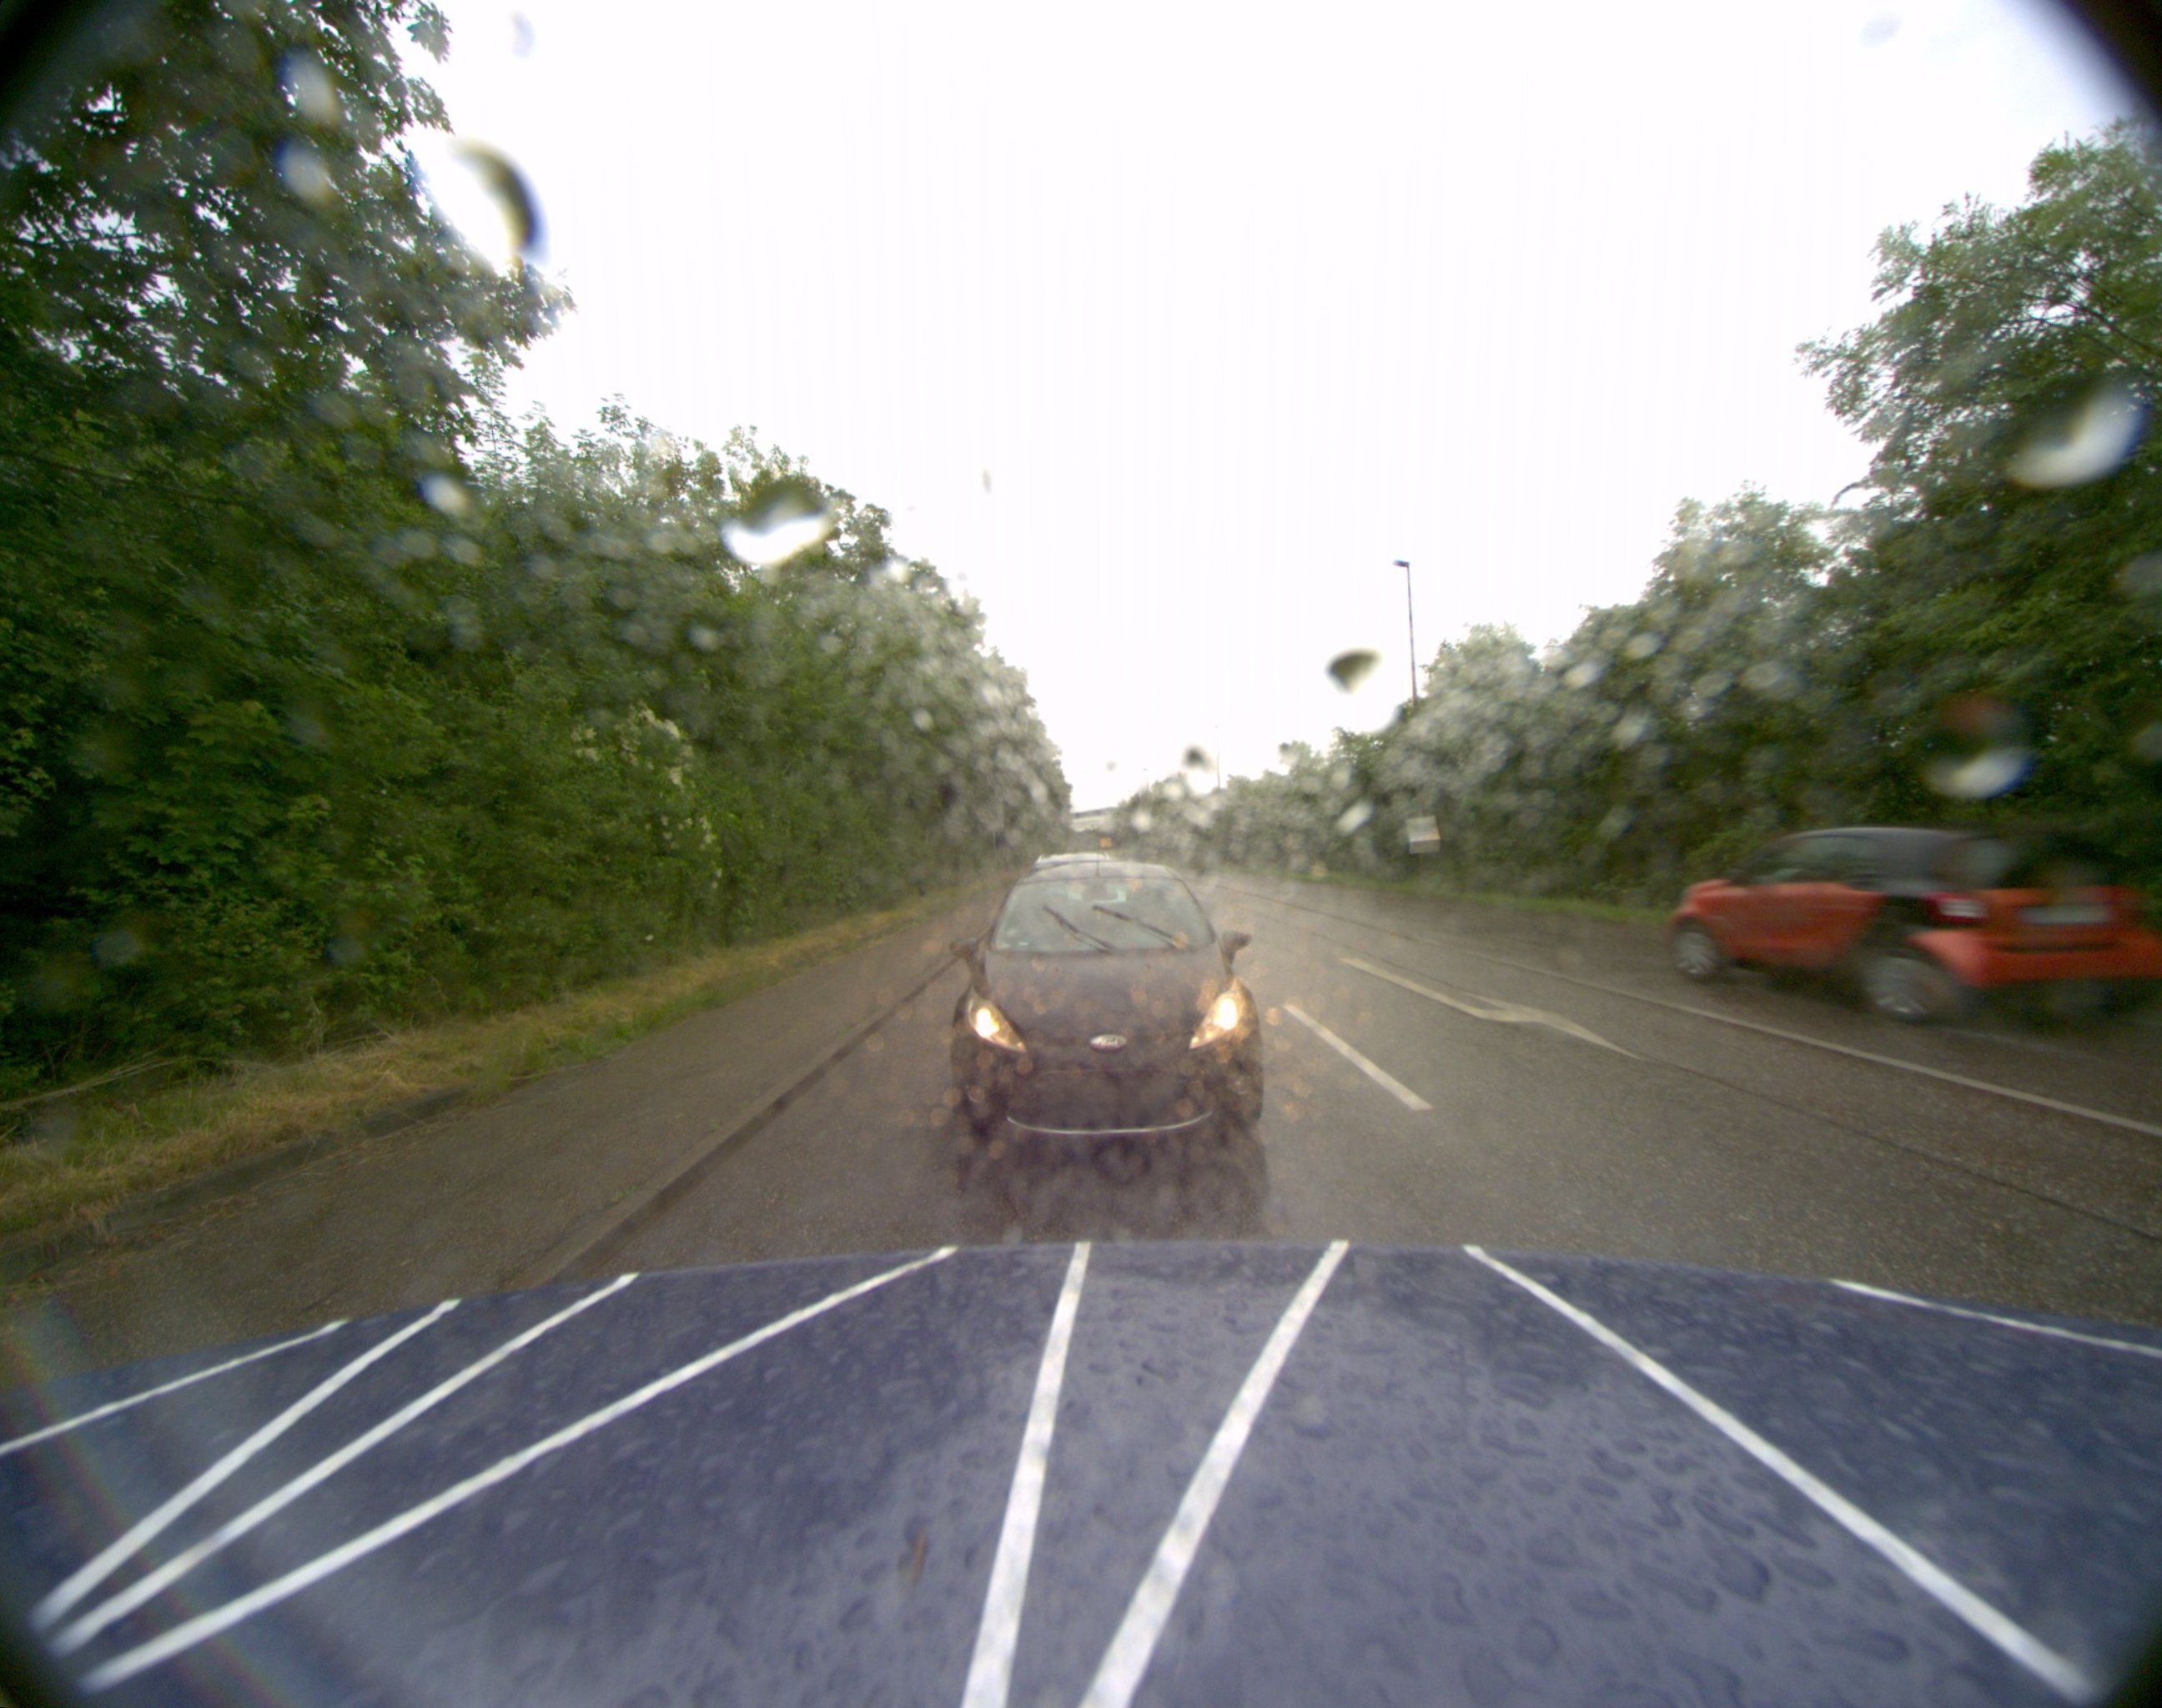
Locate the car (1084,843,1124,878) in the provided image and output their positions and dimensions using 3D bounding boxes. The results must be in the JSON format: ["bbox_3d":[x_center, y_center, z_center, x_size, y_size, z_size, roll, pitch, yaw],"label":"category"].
[{"bbox_3d":[1.215,0.334,41.233,1.998,1.778,4.000,-2,0,0],"label":"car"}]

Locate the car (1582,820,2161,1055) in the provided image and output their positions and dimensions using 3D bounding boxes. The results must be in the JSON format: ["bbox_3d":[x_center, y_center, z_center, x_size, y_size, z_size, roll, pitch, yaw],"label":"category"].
[{"bbox_3d":[7.089,0.531,7.253,1.998,1.576,3.999,-2,1,1],"label":"car"}]

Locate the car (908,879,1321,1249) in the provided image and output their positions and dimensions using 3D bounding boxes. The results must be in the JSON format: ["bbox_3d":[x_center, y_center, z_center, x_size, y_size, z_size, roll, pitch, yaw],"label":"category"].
[{"bbox_3d":[0.182,1.034,5.634,1.839,1.404,4.342,-2,1,1],"label":"car"}]

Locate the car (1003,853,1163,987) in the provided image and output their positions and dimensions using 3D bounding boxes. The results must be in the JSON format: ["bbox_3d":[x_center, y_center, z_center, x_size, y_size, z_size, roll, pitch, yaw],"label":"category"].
[{"bbox_3d":[0.047,0.839,11.727,1.998,1.576,3.999,-2,1,1],"label":"car"}]
